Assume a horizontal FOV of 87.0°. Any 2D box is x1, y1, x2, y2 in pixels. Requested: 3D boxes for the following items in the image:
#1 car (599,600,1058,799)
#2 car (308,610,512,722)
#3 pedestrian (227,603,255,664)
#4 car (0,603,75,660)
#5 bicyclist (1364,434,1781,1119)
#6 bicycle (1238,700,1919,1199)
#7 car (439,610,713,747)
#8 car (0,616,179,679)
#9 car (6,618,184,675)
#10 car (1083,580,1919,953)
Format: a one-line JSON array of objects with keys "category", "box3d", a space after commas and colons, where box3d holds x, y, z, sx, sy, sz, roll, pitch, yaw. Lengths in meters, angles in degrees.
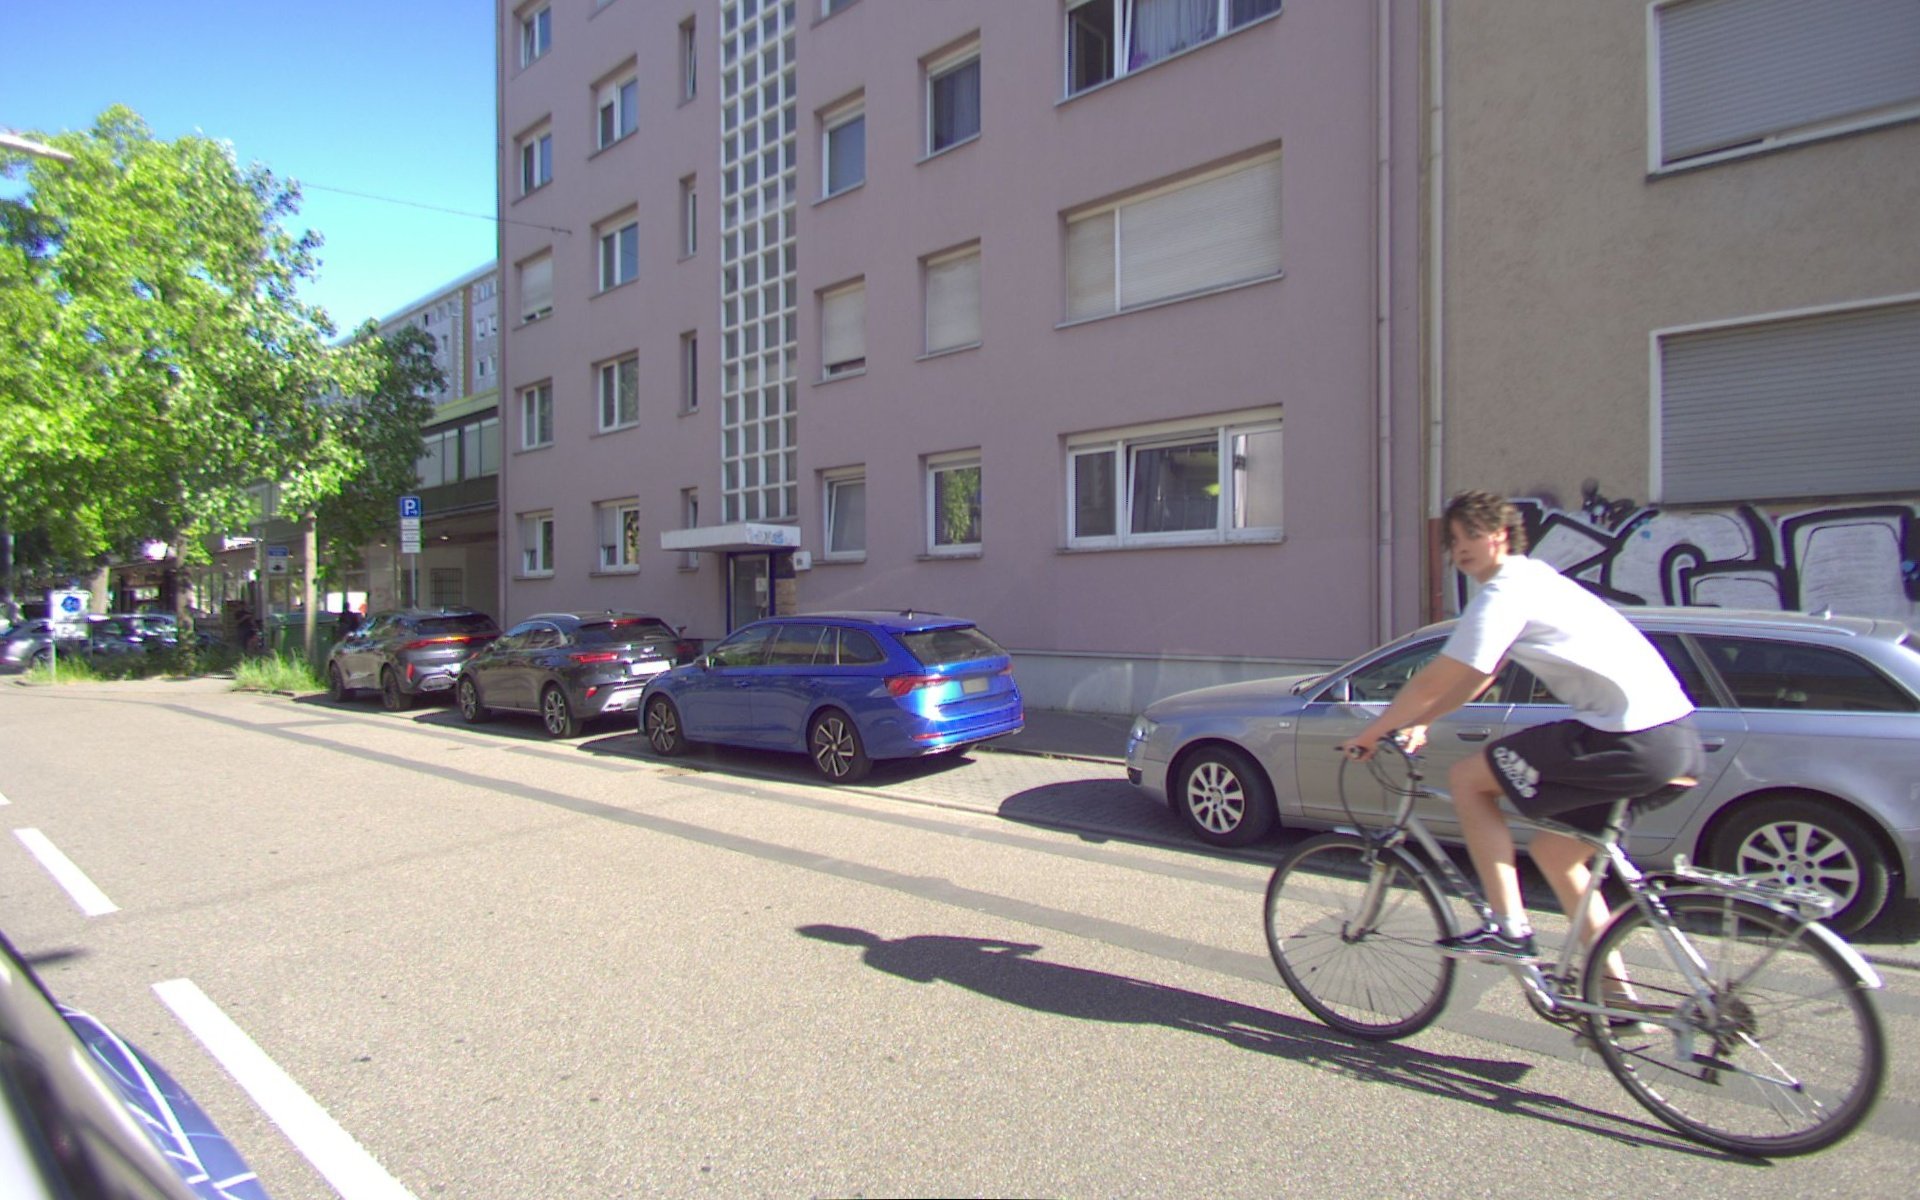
[{"category": "car", "box3d": [-1.522, 0.827, 10.241, 4.797, 1.514, 1.805, -1, 1, 40]}, {"category": "car", "box3d": [-9.307, 1.014, 16.982, 4.157, 1.588, 1.704, -1, 1, 43]}, {"category": "pedestrian", "box3d": [-21.798, 1.014, 30.675, 0.502, 1.820, 0.615, -1, -1, 42]}, {"category": "car", "box3d": [-34.938, 1.146, 36.933, 1.913, 2.058, 3.824, -1, -1, 43]}, {"category": "bicyclist", "box3d": [1.805, 0.426, 3.001, 0.945, 1.632, 0.709, -1, -1, 41]}, {"category": "bicycle", "box3d": [1.843, 0.905, 2.961, 1.871, 1.072, 0.709, -1, -1, 41]}, {"category": "car", "box3d": [-5.230, 0.930, 13.503, 4.157, 1.478, 1.704, -1, 1, 43]}, {"category": "car", "box3d": [-24.181, 1.261, 27.913, 1.913, 1.564, 3.943, -1, -1, 43]}, {"category": "car", "box3d": [-26.169, 1.343, 30.710, 1.913, 1.564, 3.943, -1, -1, 43]}, {"category": "car", "box3d": [3.261, 0.713, 6.008, 4.797, 1.514, 1.805, -1, 1, 40]}]
